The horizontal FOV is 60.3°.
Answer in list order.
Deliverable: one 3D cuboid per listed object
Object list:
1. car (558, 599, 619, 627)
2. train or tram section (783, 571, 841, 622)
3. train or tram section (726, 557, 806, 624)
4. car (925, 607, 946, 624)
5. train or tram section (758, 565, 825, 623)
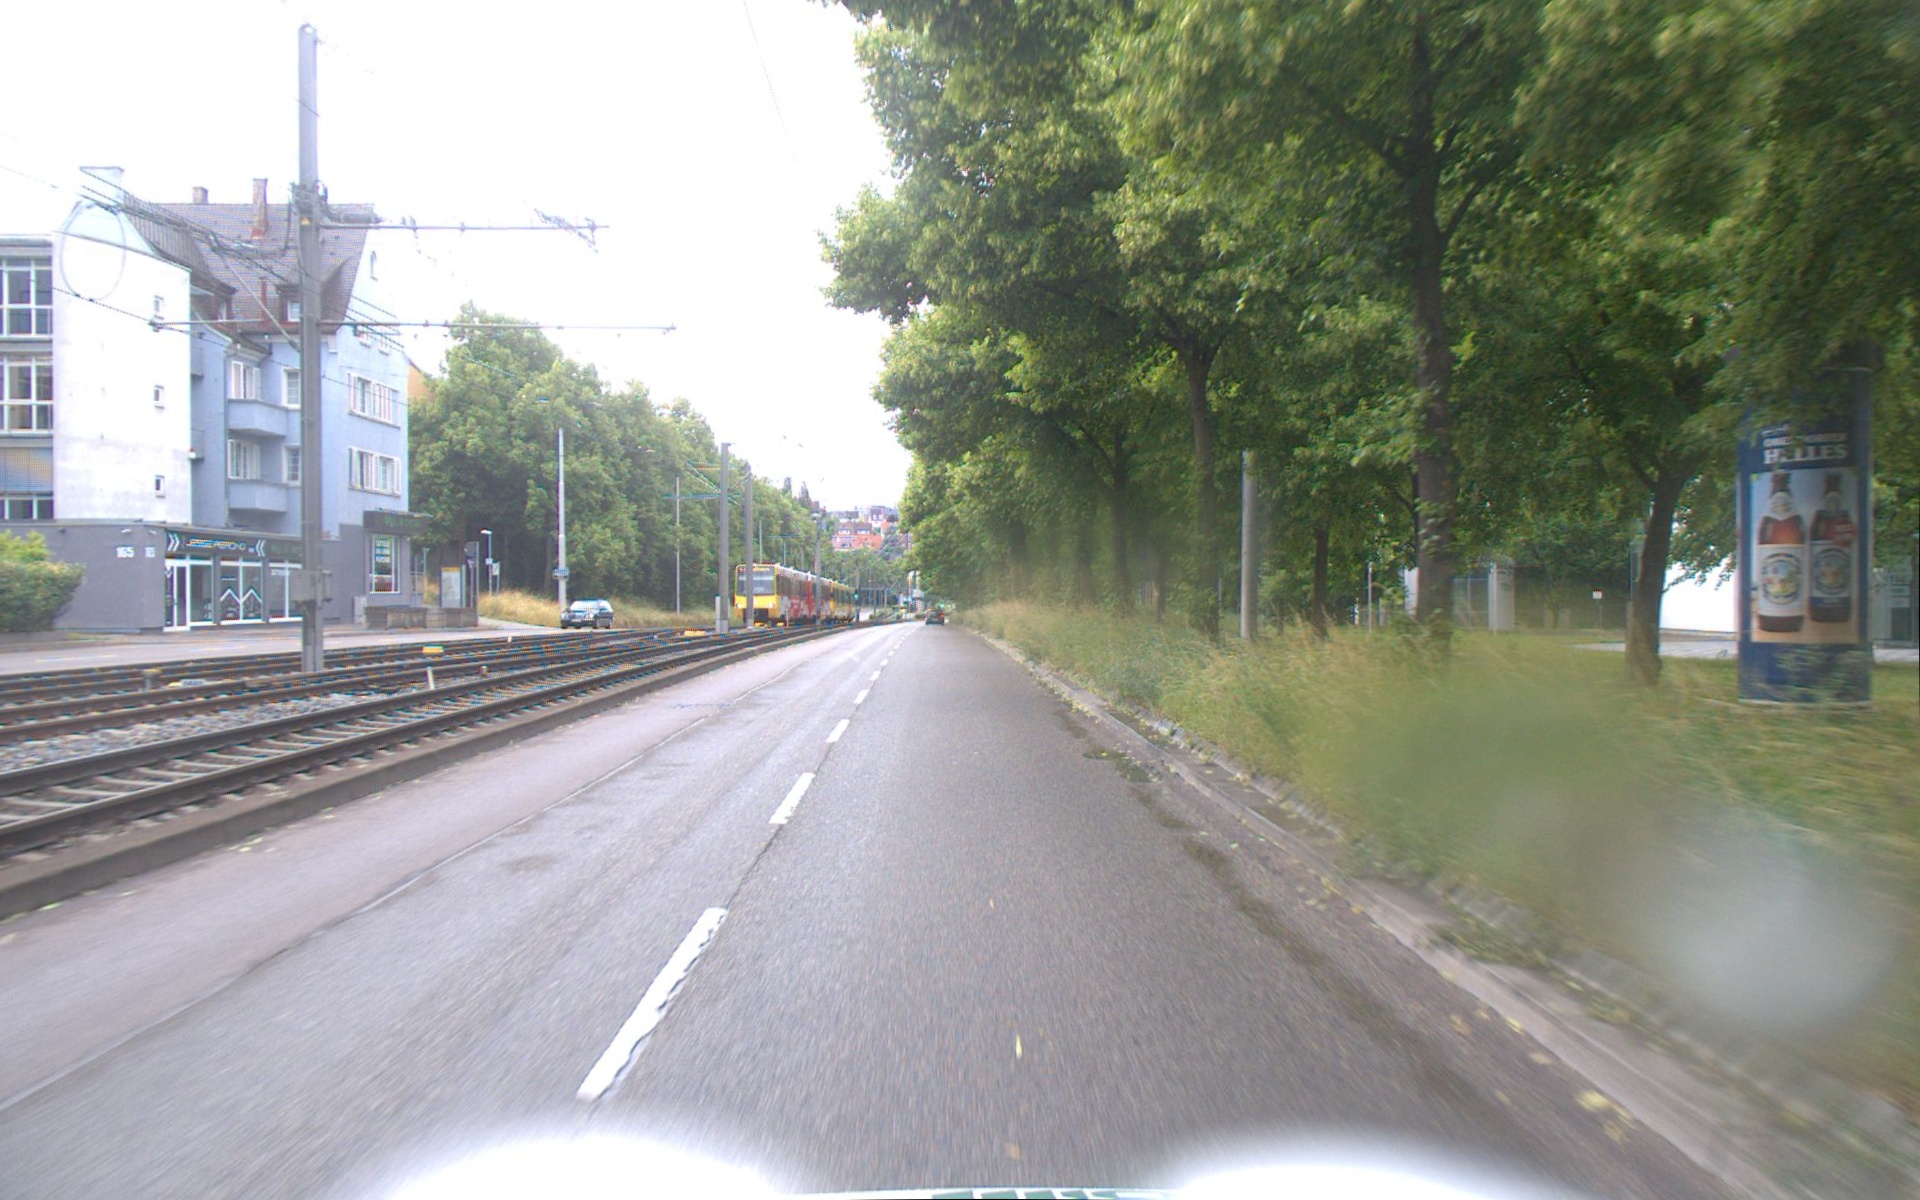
[{"bbox_3d":[-18.153,0.639,80.951,1.863,1.348,4.826,0,-1,0],"label":"car"},{"bbox_3d":[-11.713,-0.196,132.316,3.148,3.863,14.788,0,-1,0],"label":"train or tram section"},{"bbox_3d":[-11.874,-0.479,102.643,3.148,3.863,14.788,0,-1,0],"label":"train or tram section"},{"bbox_3d":[-2.216,1.418,150.207,1.942,1.466,4.473,0,0,-1],"label":"car"},{"bbox_3d":[-11.823,-0.331,117.478,3.148,3.863,14.788,0,-1,0],"label":"train or tram section"}]
